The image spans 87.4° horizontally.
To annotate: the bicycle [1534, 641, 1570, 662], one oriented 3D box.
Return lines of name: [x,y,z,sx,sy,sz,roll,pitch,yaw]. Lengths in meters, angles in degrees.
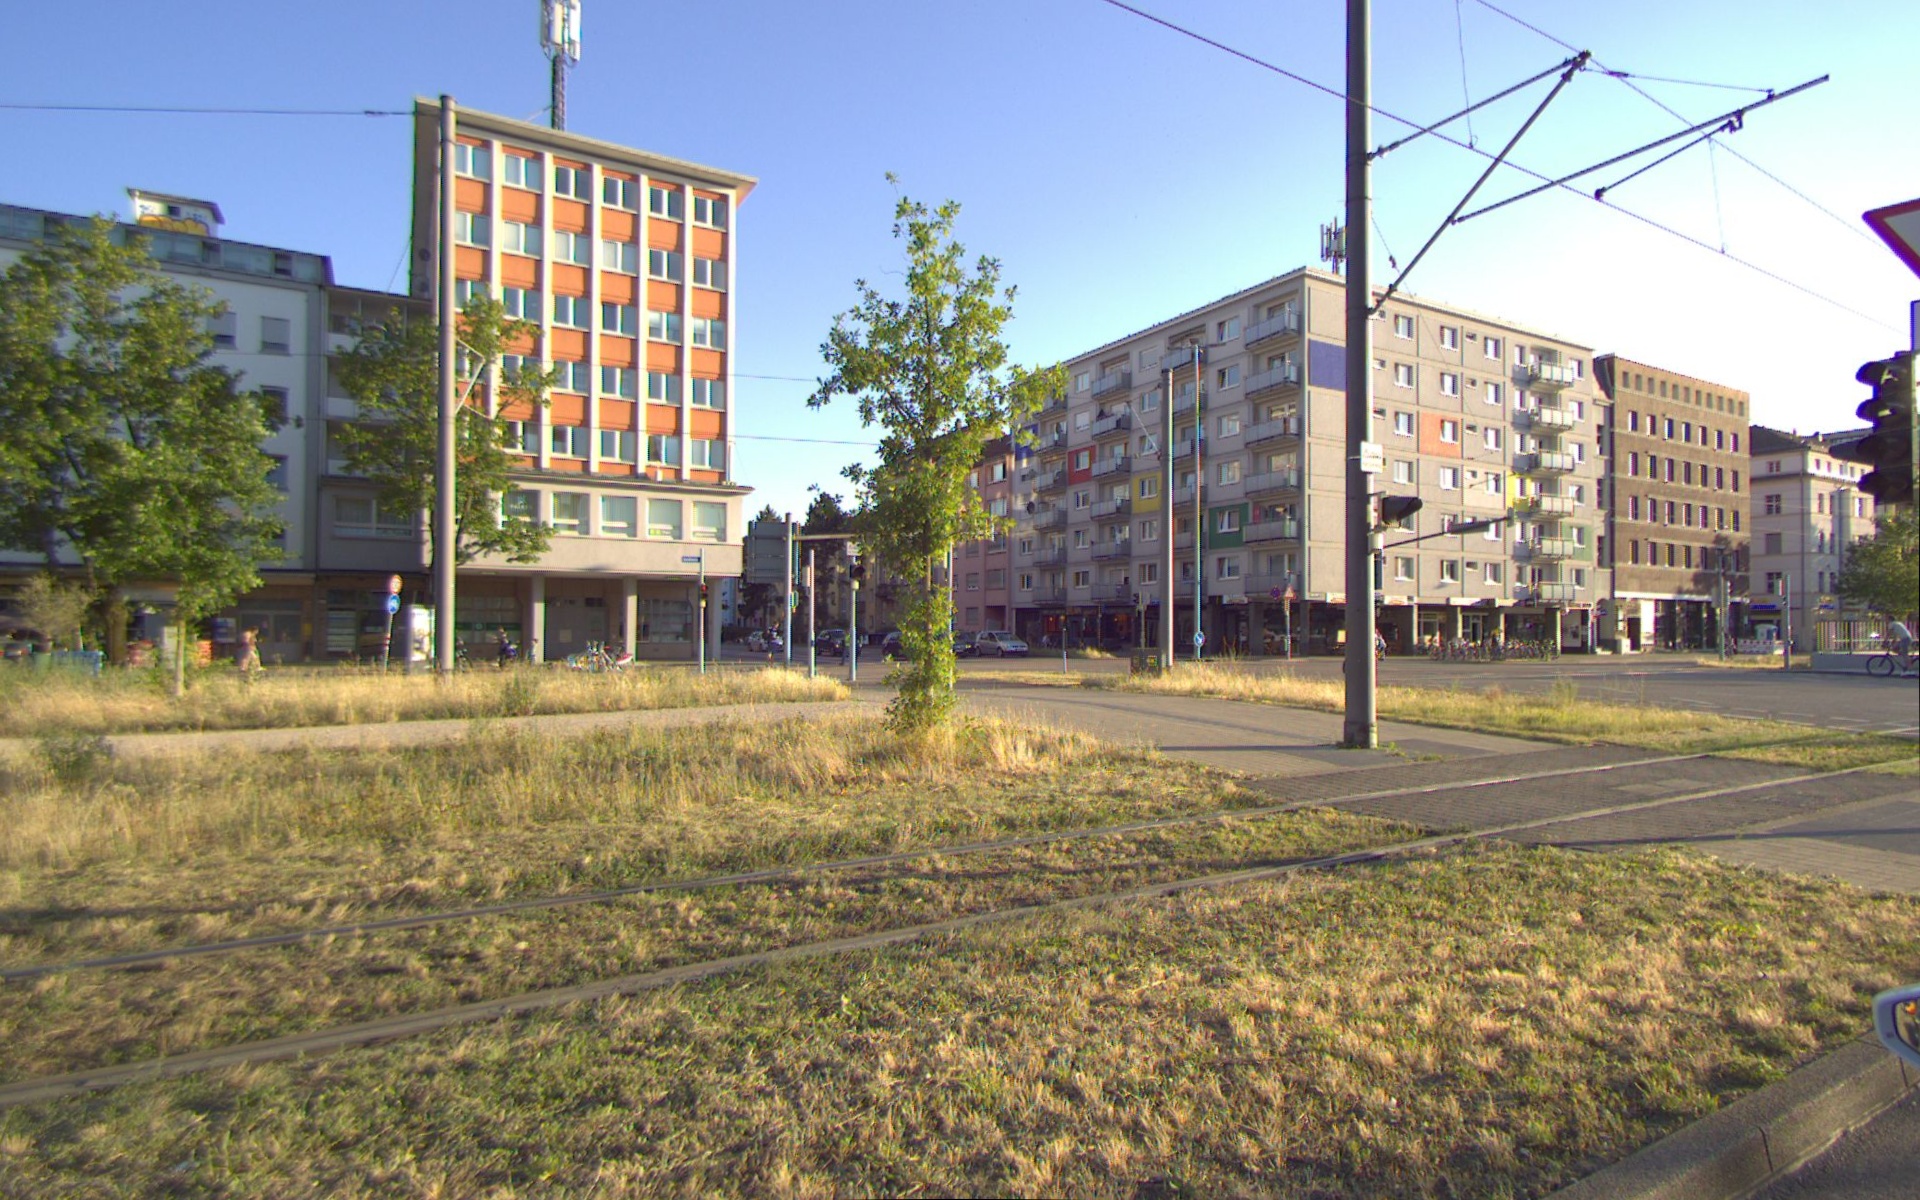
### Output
bicycle: [33.864,2.933,57.475,0.739,1.194,1.684,1,-1,-28]

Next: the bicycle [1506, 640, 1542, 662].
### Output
bicycle: [31.541,2.845,56.233,0.545,1.132,1.747,1,-1,-29]

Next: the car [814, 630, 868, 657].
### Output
car: [-7.306,2.624,61.471,1.975,1.551,3.971,1,-1,-28]

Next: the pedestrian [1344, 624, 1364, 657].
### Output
pedestrian: [22.031,2.273,56.179,0.715,1.837,0.820,2,-1,-40]

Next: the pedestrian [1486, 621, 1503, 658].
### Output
pedestrian: [32.320,2.403,60.731,0.783,2.207,0.599,1,-1,-30]

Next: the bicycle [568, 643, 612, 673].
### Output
bicycle: [-14.146,2.208,38.396,1.543,1.089,0.392,1,-1,-31]

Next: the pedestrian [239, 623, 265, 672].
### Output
pedestrian: [-26.662,1.791,37.841,0.696,1.816,0.590,1,-1,-30]

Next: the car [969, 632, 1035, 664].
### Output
car: [2.270,2.642,55.615,1.974,1.506,3.973,2,1,-26]

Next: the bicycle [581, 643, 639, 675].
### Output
bicycle: [-12.558,2.110,36.053,1.885,1.089,0.465,1,-1,-31]

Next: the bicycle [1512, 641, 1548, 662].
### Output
bicycle: [32.047,2.869,56.515,0.561,1.134,1.753,1,-1,-29]

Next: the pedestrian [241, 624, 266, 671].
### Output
pedestrian: [-26.985,1.819,38.387,0.690,1.774,0.646,1,-1,-30]

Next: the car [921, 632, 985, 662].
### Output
car: [-0.415,2.544,54.956,1.974,1.505,3.974,2,-2,-26]

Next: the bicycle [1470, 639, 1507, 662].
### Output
bicycle: [28.713,2.740,54.569,0.561,1.197,1.761,1,-1,-29]

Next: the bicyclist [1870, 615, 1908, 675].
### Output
bicyclist: [28.862,1.397,31.220,0.641,1.842,0.786,1,-1,-41]

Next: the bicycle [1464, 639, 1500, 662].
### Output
bicycle: [28.198,2.732,54.276,0.534,1.183,1.758,1,-1,-29]

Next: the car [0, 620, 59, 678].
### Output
car: [-30.092,1.440,30.235,3.927,1.706,1.997,1,-1,-9]

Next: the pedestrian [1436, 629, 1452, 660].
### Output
pedestrian: [26.821,2.437,55.671,0.541,1.706,0.576,1,-1,-32]

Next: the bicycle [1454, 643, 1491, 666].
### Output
bicycle: [27.626,2.928,54.130,0.592,1.154,1.749,1,-1,-29]

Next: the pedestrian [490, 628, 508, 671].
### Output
pedestrian: [-19.589,2.089,42.702,0.623,1.792,0.593,1,-1,-30]

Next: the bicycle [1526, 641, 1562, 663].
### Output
bicycle: [33.211,2.936,57.115,0.696,1.168,1.684,1,-1,-28]

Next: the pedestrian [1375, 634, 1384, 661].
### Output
pedestrian: [21.739,2.457,52.041,0.376,1.401,0.394,0,-1,32]

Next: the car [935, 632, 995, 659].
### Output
car: [0.264,2.656,59.383,1.974,1.505,3.974,1,-2,-26]

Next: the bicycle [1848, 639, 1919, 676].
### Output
bicycle: [28.887,1.771,31.200,0.627,1.089,1.884,1,-2,-41]

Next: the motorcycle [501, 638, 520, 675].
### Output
motorcycle: [-16.997,2.101,37.956,0.538,1.335,1.823,1,-1,-27]

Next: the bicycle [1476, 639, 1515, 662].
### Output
bicycle: [29.259,2.765,54.903,0.644,1.206,1.780,1,-2,-30]

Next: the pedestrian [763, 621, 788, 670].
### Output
pedestrian: [-7.566,1.869,41.095,0.708,1.972,0.720,-1,-2,43]

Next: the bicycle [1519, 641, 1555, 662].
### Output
bicycle: [32.605,2.891,56.798,0.626,1.139,1.720,2,-2,-28]

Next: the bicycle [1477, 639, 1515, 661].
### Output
bicycle: [29.720,2.757,55.682,0.632,1.176,1.823,1,-2,-29]

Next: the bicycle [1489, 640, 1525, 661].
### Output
bicycle: [30.762,2.820,56.488,0.598,1.151,1.763,1,-1,-29]

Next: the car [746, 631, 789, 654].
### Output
car: [-14.009,3.089,72.997,1.975,1.551,3.971,1,-1,-28]

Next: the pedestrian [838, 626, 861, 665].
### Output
pedestrian: [-5.229,2.134,47.374,0.879,1.855,0.885,1,-1,-20]

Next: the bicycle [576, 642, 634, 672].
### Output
bicycle: [-13.260,2.124,37.516,1.972,1.089,0.465,1,-1,-31]

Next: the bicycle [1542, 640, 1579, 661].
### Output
bicycle: [34.549,2.902,57.820,0.739,1.185,1.684,1,-1,-28]

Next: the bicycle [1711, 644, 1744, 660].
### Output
bicycle: [45.206,3.050,59.183,1.636,0.957,0.509,0,-1,-4]

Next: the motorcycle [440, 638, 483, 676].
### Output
motorcycle: [-17.785,2.017,35.855,1.373,1.335,0.378,1,-1,-28]

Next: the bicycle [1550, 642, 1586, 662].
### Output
bicycle: [35.183,3.003,58.163,0.688,1.159,1.684,1,-1,-28]

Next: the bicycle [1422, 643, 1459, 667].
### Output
bicycle: [25.808,2.939,53.950,0.631,1.224,1.786,1,-2,-30]

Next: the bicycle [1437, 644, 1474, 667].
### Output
bicycle: [26.805,2.997,54.330,0.601,1.157,1.768,1,-2,-29]

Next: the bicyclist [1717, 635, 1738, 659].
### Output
bicyclist: [45.232,2.774,59.192,0.841,1.445,0.501,0,-1,-3]

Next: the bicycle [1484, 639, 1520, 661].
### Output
bicycle: [30.251,2.803,56.082,0.598,1.174,1.768,1,-1,-29]
